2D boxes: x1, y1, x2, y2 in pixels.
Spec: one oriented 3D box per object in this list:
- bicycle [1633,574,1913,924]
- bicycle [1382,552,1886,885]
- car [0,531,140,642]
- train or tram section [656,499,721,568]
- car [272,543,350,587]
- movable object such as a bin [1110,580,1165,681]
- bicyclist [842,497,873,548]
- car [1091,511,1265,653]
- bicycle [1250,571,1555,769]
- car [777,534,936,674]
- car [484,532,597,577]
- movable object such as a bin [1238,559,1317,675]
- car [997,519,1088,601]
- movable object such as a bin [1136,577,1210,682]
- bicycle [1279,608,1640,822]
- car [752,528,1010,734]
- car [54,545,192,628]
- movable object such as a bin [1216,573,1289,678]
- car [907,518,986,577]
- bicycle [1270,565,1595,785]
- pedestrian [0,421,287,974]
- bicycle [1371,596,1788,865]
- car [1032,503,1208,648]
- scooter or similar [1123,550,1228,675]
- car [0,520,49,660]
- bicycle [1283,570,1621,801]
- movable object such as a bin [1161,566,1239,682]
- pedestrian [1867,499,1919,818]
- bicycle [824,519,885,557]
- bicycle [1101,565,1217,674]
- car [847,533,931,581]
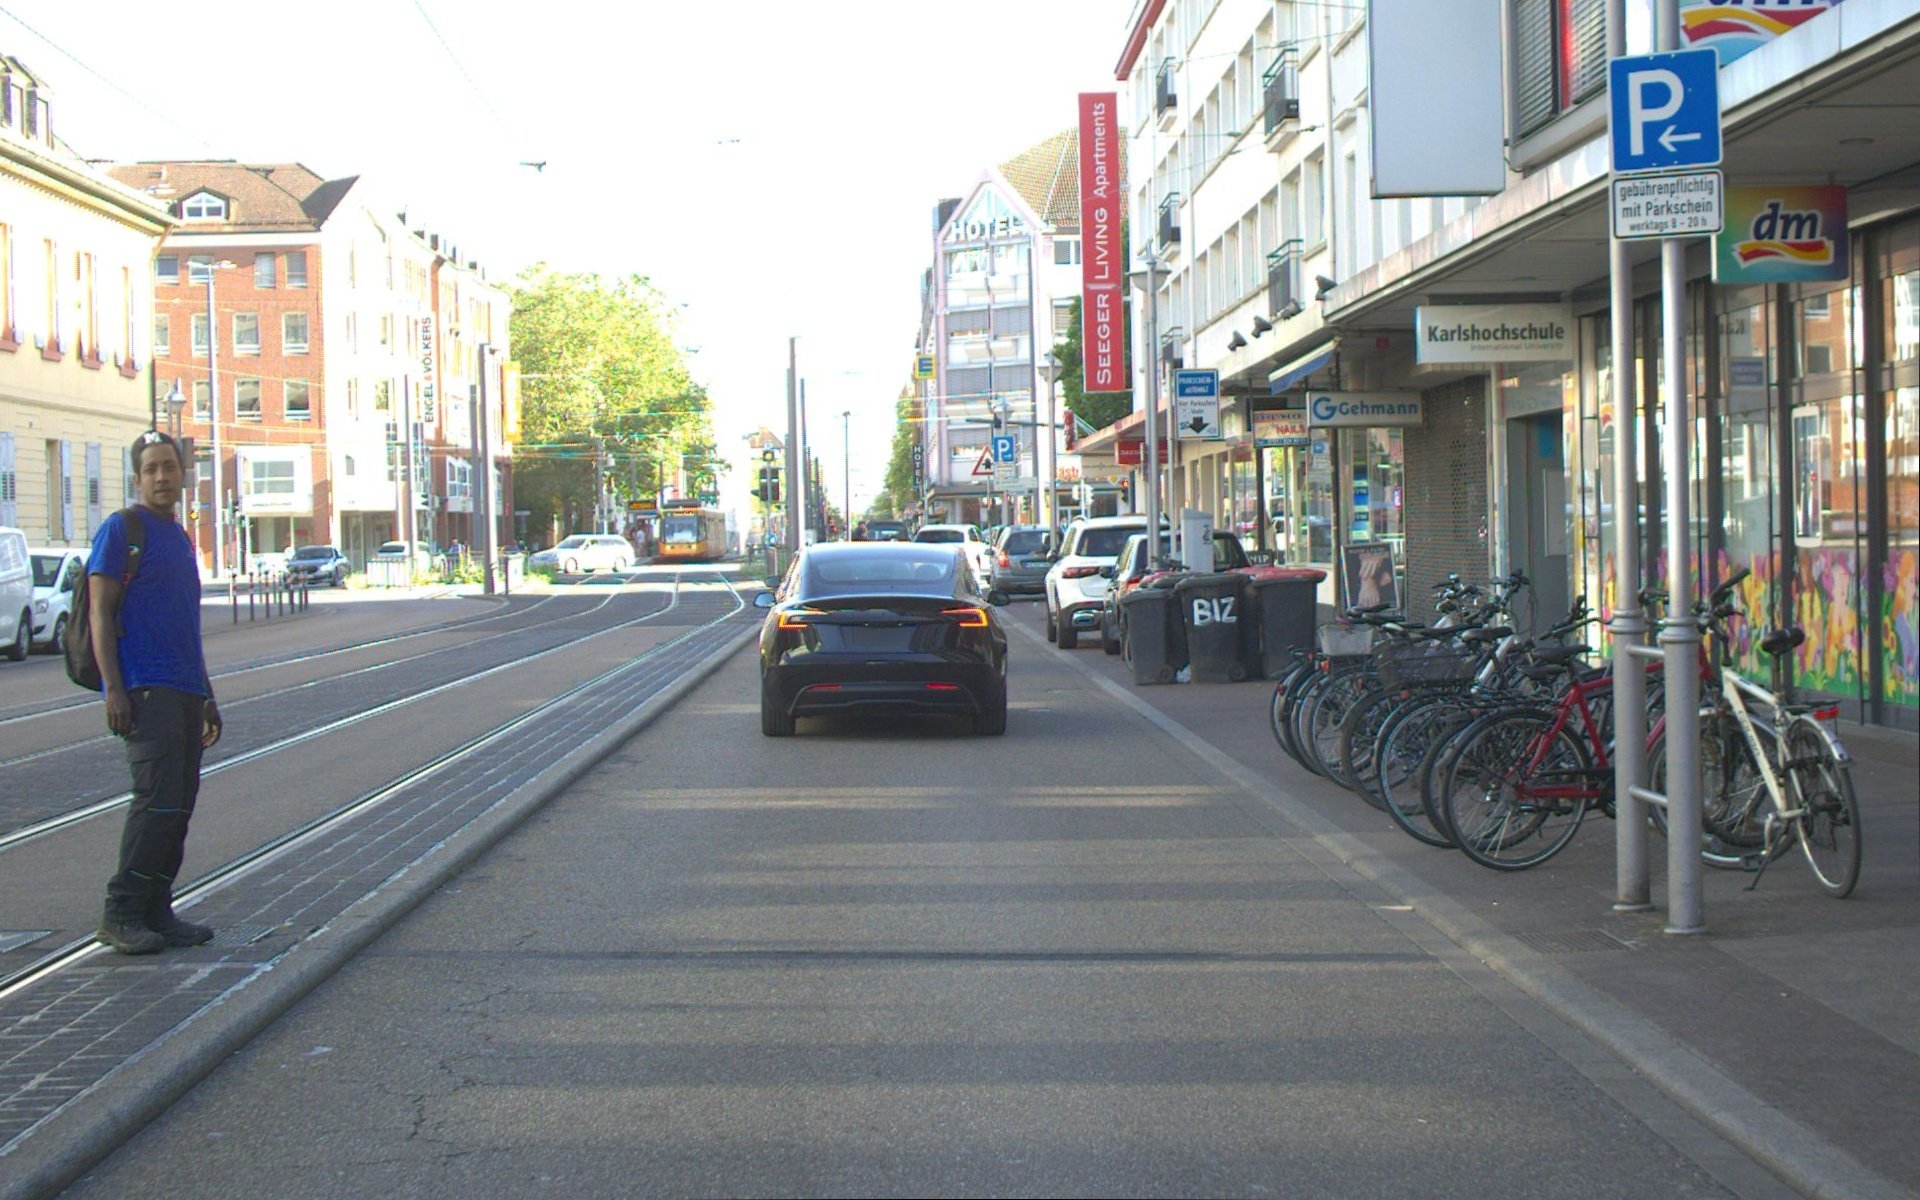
[{"bbox_3d":[3.168,0.545,13.527,0.581,1.253,1.602,-3,1,-3],"label":"bicycle"},{"bbox_3d":[2.938,0.498,15.004,2.035,1.270,0.525,-4,2,-11],"label":"bicycle"},{"bbox_3d":[-14.516,-0.246,54.541,1.808,1.680,4.648,1,1,1],"label":"car"},{"bbox_3d":[-15.172,-3.693,193.212,2.674,3.703,14.193,1,1,-1],"label":"train or tram section"},{"bbox_3d":[-22.339,-1.201,118.491,1.903,1.459,4.000,1,1,1],"label":"car"},{"bbox_3d":[1.728,0.290,33.458,0.487,0.955,0.457,-2,1,2],"label":"movable object such as a bin"},{"bbox_3d":[-3.033,-2.305,101.882,0.836,1.494,0.560,1,1,-9],"label":"bicyclist"},{"bbox_3d":[2.497,-0.227,40.205,1.614,1.523,4.071,-2,1,-2],"label":"car"},{"bbox_3d":[2.774,0.433,21.642,1.787,1.155,0.669,-2,1,-2],"label":"bicycle"},{"bbox_3d":[-1.103,0.002,38.131,1.653,1.413,4.000,0,2,0],"label":"car"},{"bbox_3d":[-16.639,-1.816,136.285,3.986,1.672,2.000,-2,1,-23],"label":"car"},{"bbox_3d":[3.075,0.160,33.315,0.690,1.085,0.666,-2,1,2],"label":"movable object such as a bin"},{"bbox_3d":[1.739,-0.873,73.169,1.745,1.626,3.649,-2,1,-1],"label":"car"},{"bbox_3d":[2.106,0.289,34.036,0.686,1.010,0.508,-2,1,2],"label":"movable object such as a bin"},{"bbox_3d":[2.618,0.596,18.109,1.773,1.028,0.597,-2,1,-2],"label":"bicycle"},{"bbox_3d":[-0.642,0.196,26.600,1.849,1.479,3.788,0,1,-2],"label":"car"},{"bbox_3d":[-14.659,-0.253,60.379,1.614,1.396,3.720,1,1,-2],"label":"car"},{"bbox_3d":[2.890,0.246,34.019,0.658,1.010,0.636,-2,1,2],"label":"movable object such as a bin"},{"bbox_3d":[-0.385,-1.404,91.658,1.783,1.514,4.219,1,1,-4],"label":"car"},{"bbox_3d":[2.785,0.434,20.364,1.787,1.213,0.669,-2,1,-2],"label":"bicycle"},{"bbox_3d":[-2.854,0.323,11.980,0.804,1.831,0.746,-3,1,-3],"label":"pedestrian"},{"bbox_3d":[2.817,0.584,15.678,1.773,1.127,0.479,-2,1,-6],"label":"bicycle"},{"bbox_3d":[2.052,-0.345,45.392,1.849,1.718,5.193,-3,1,-2],"label":"car"},{"bbox_3d":[2.216,0.124,35.424,0.992,1.227,0.320,-3,1,-2],"label":"scooter or similar"},{"bbox_3d":[-14.433,-0.158,48.353,1.993,1.968,5.097,1,1,-2],"label":"car"},{"bbox_3d":[2.775,0.475,19.478,1.787,1.213,0.587,-2,1,-2],"label":"bicycle"},{"bbox_3d":[2.321,0.227,33.345,0.690,1.085,0.685,-2,1,2],"label":"movable object such as a bin"},{"bbox_3d":[4.714,0.258,16.077,0.581,1.481,0.597,-4,1,-32],"label":"pedestrian"},{"bbox_3d":[-3.114,-1.842,101.847,1.727,1.084,0.678,1,1,-8],"label":"bicycle"},{"bbox_3d":[2.087,0.204,36.057,1.131,1.076,0.320,-3,1,-2],"label":"bicycle"},{"bbox_3d":[-2.341,-1.416,112.131,1.824,1.514,4.219,1,1,-14],"label":"car"}]
